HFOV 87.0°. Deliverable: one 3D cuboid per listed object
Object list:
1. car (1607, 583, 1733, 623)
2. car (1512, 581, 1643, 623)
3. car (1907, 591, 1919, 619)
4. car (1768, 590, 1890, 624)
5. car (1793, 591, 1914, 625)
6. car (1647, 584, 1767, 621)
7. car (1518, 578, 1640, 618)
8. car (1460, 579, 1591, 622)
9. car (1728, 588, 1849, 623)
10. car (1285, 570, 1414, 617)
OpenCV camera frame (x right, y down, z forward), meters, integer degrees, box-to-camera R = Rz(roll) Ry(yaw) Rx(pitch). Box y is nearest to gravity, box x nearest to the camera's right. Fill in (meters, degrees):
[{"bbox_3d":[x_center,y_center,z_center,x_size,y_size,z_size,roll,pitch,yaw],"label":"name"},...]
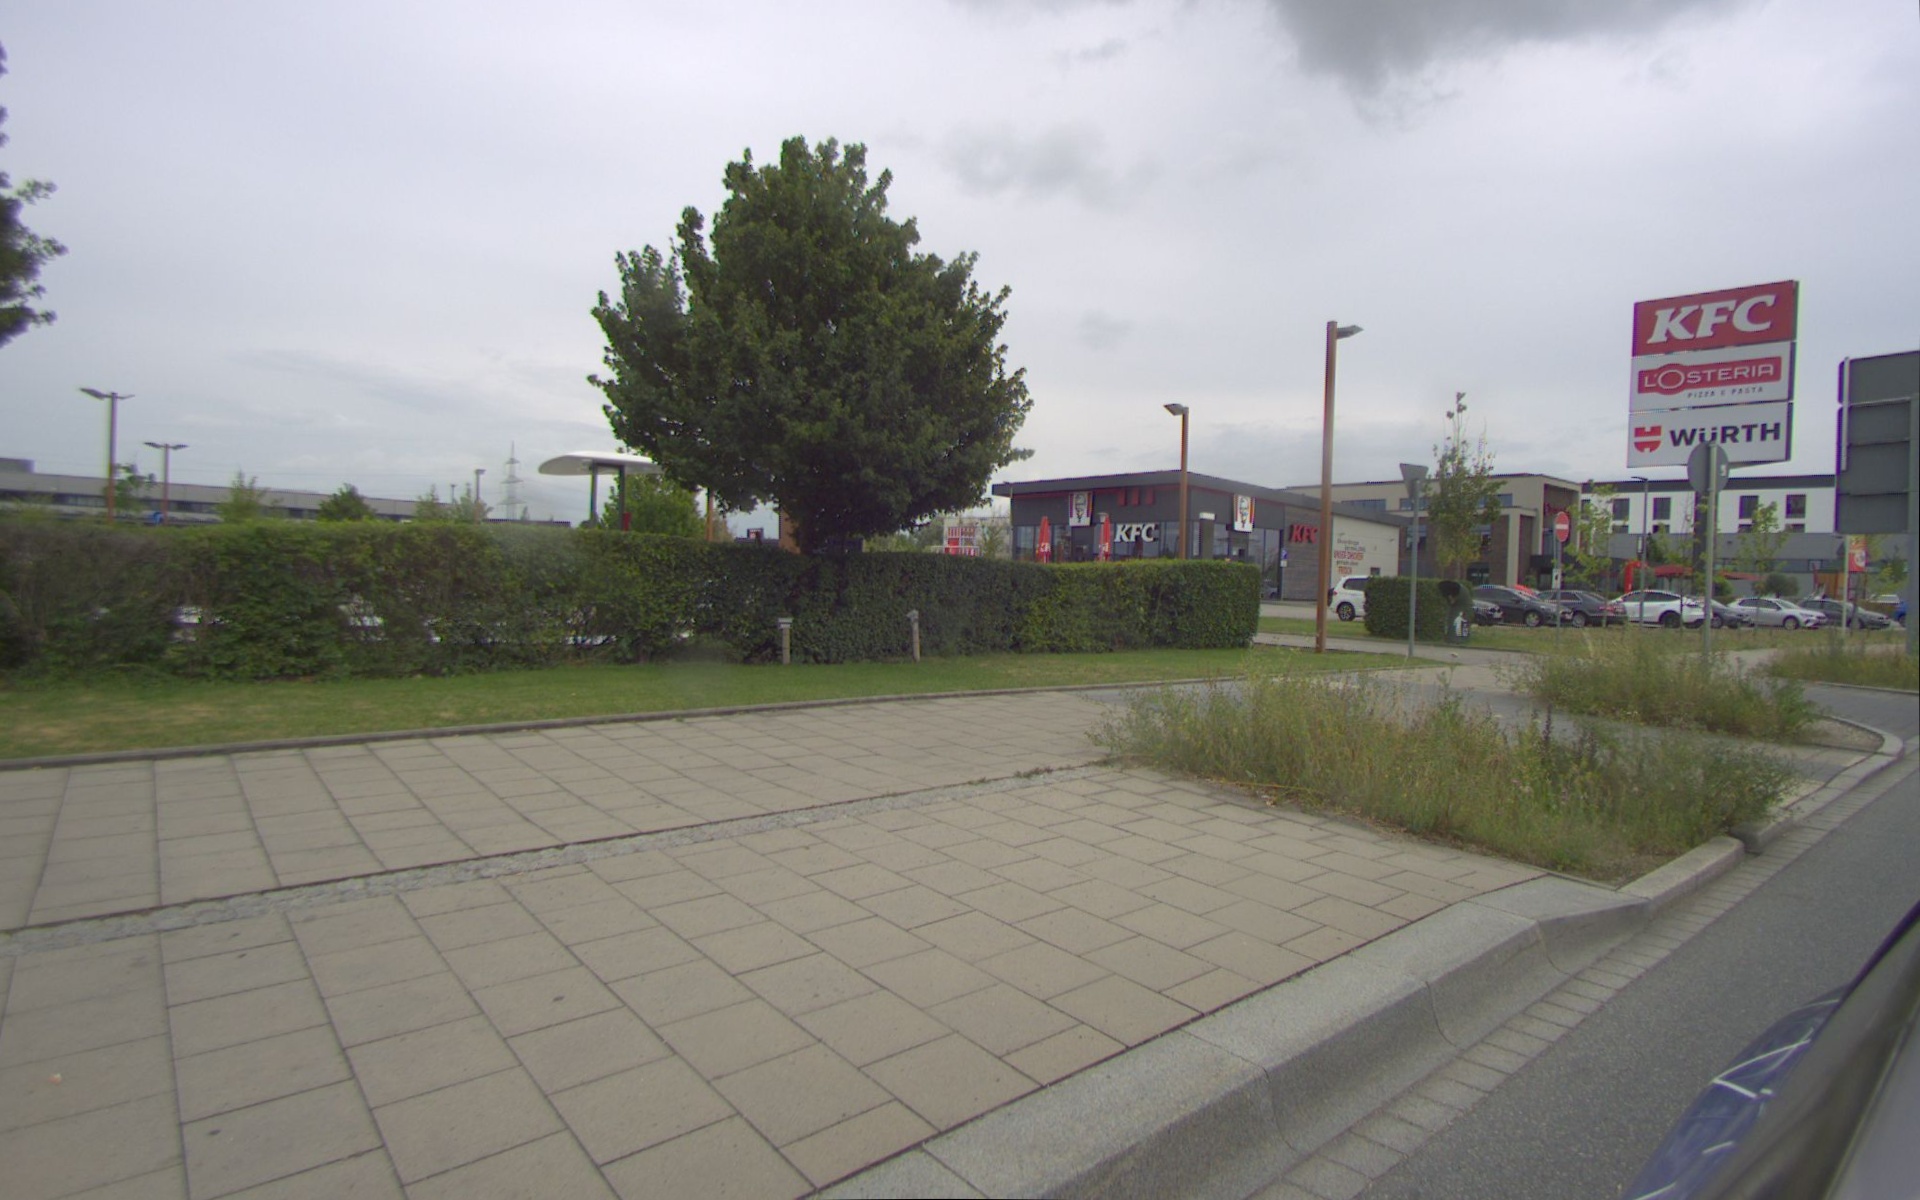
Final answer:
[{"bbox_3d":[30.256,0.087,43.219,1.810,1.541,4.004,1,1,-31],"label":"car"},{"bbox_3d":[24.269,0.041,39.890,1.810,1.504,4.004,1,1,-31],"label":"car"},{"bbox_3d":[52.252,0.265,52.610,1.809,1.505,4.008,0,0,-23],"label":"car"},{"bbox_3d":[41.240,0.294,48.133,1.809,1.505,4.006,0,0,-27],"label":"car"},{"bbox_3d":[43.343,0.371,49.166,1.809,1.504,4.007,1,1,-27],"label":"car"},{"bbox_3d":[34.117,0.088,46.299,1.811,1.504,4.004,1,1,-32],"label":"car"},{"bbox_3d":[26.036,-0.101,42.662,1.811,1.631,4.003,0,0,-31],"label":"car"},{"bbox_3d":[21.544,-0.016,38.709,1.810,1.504,4.004,1,1,-31],"label":"car"},{"bbox_3d":[38.891,0.231,47.615,1.809,1.504,4.007,1,1,-27],"label":"car"},{"bbox_3d":[14.069,-0.266,36.725,1.814,1.547,3.997,1,2,-39],"label":"car"}]
